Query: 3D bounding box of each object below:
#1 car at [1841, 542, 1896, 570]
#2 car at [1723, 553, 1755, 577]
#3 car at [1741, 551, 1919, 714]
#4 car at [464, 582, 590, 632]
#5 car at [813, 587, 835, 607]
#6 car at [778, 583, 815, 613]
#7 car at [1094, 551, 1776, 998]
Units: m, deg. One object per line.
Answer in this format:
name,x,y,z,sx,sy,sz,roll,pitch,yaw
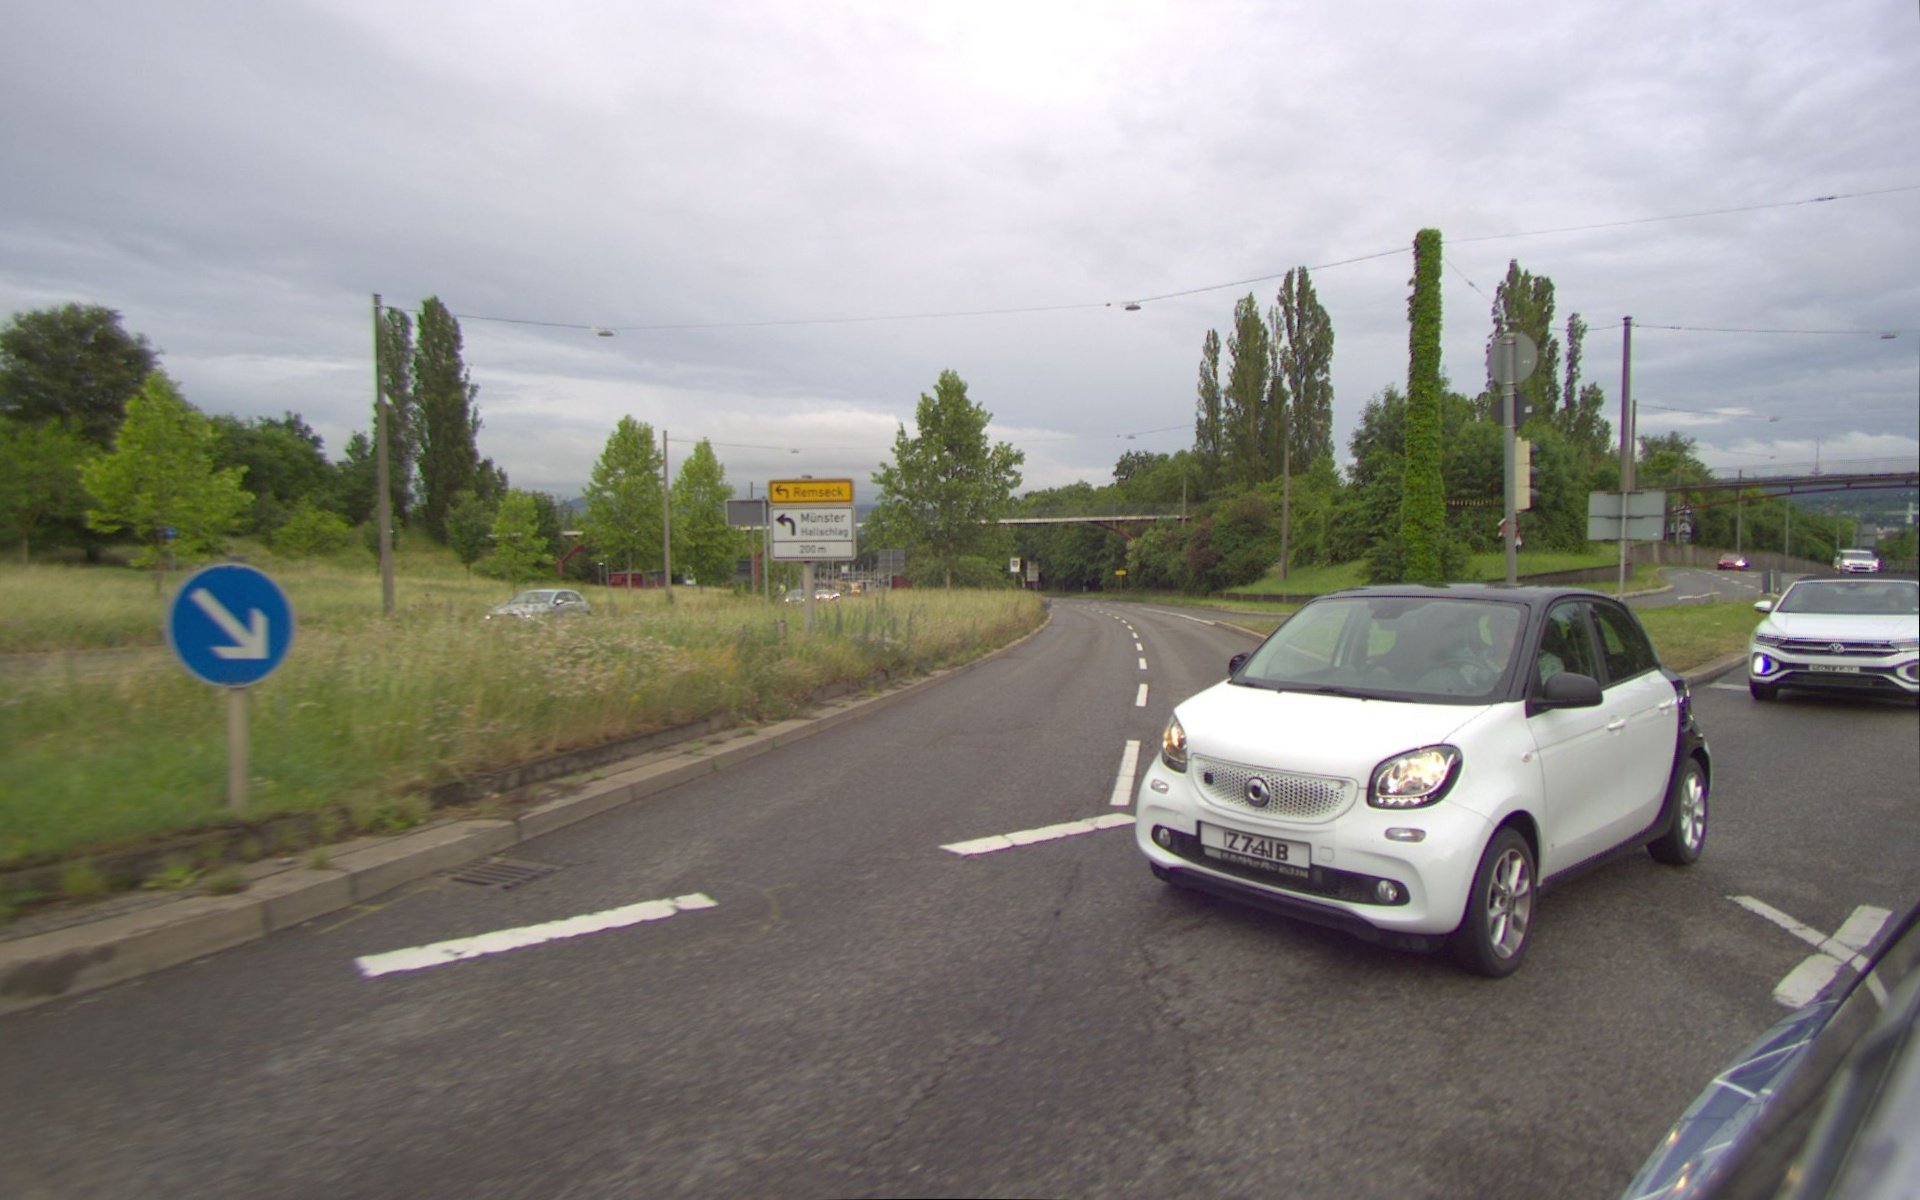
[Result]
car,58.538,-2.785,65.272,1.986,1.713,4.238,0,1,33
car,68.343,-3.052,88.852,1.986,2.039,3.952,0,1,34
car,11.503,0.289,12.825,3.755,1.558,1.841,-7,5,-41
car,-13.405,0.157,31.620,1.720,1.445,3.988,1,1,10
car,-13.944,-0.297,103.820,1.803,1.972,4.001,-1,1,-1
car,-11.539,-0.167,71.541,1.962,2.039,4.001,-1,1,-1
car,2.783,0.546,5.471,4.152,1.541,1.725,-1,2,-40
